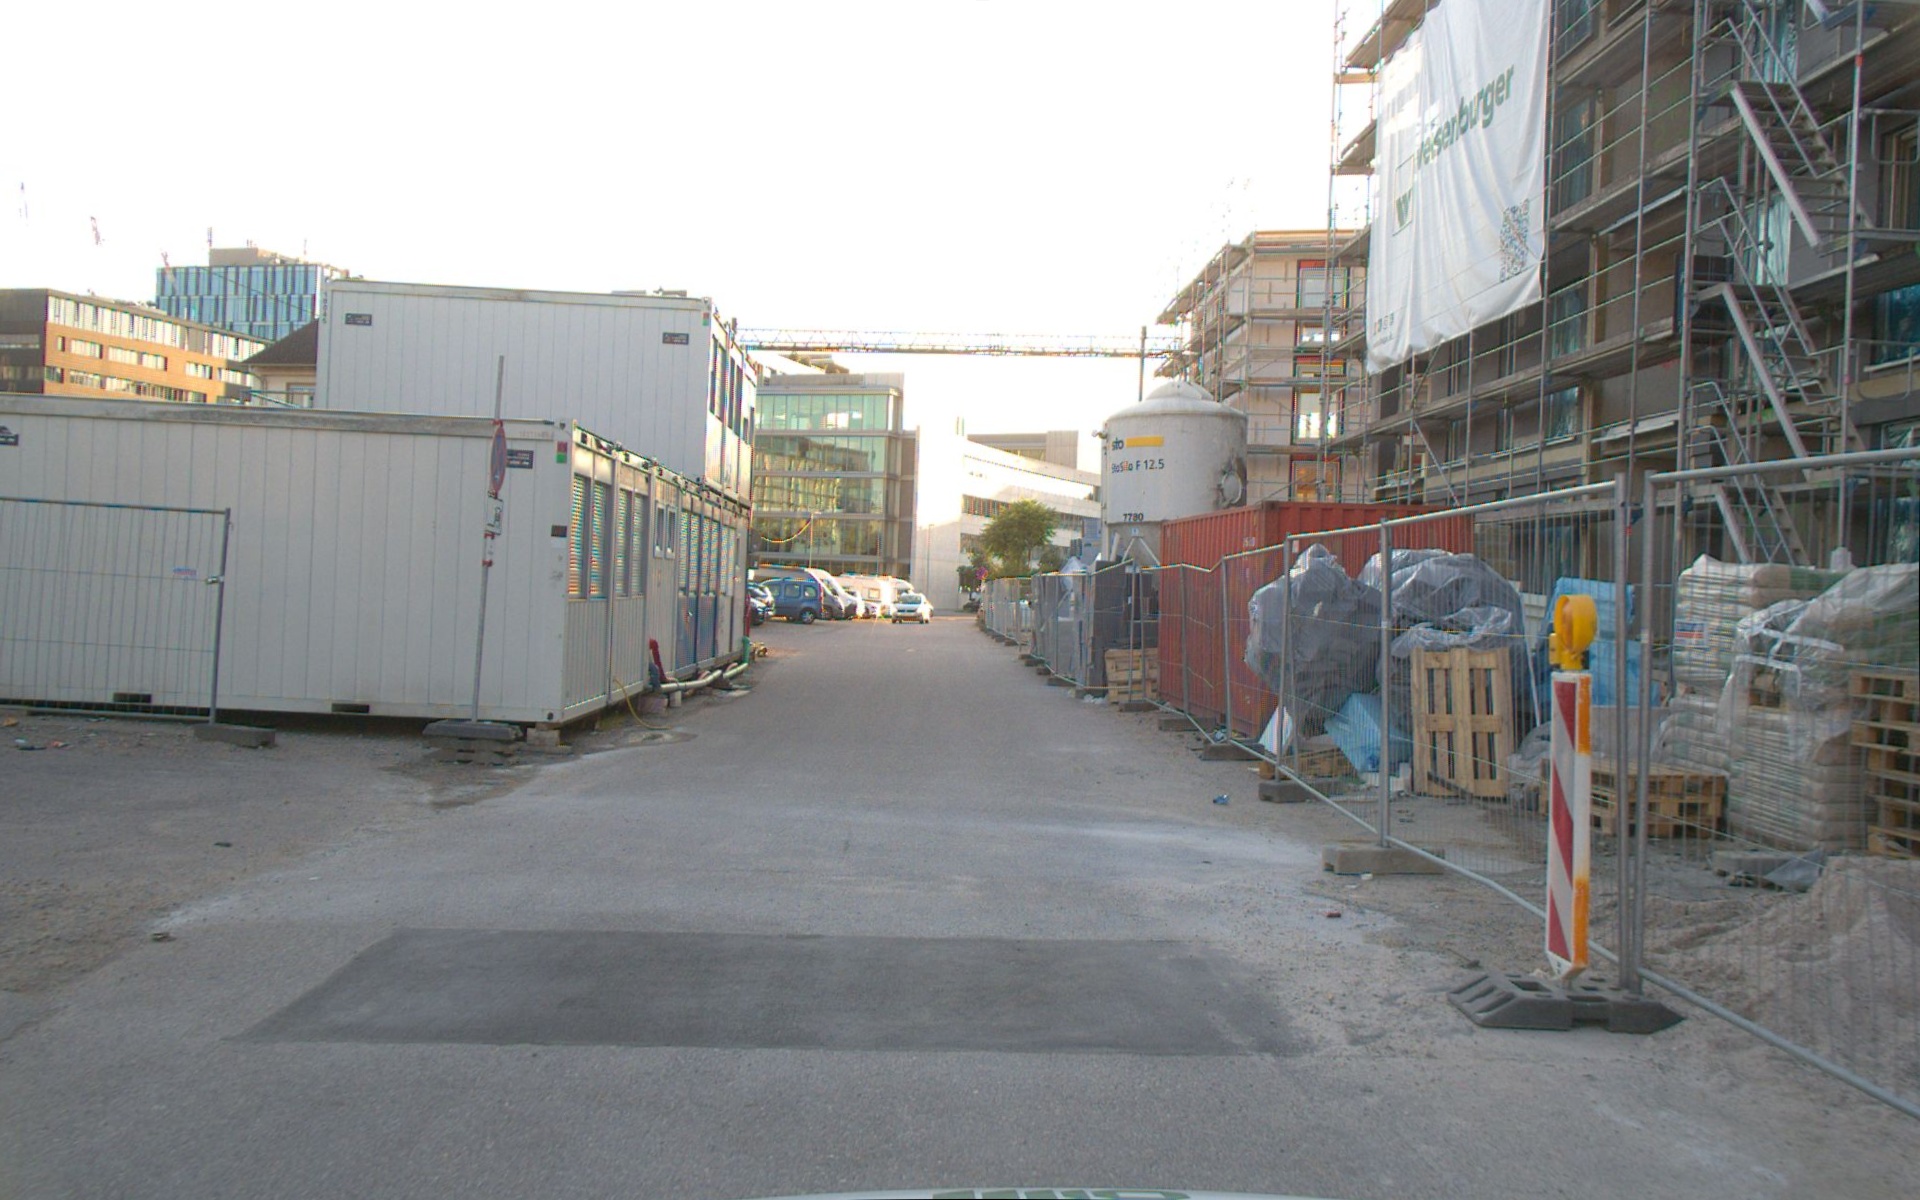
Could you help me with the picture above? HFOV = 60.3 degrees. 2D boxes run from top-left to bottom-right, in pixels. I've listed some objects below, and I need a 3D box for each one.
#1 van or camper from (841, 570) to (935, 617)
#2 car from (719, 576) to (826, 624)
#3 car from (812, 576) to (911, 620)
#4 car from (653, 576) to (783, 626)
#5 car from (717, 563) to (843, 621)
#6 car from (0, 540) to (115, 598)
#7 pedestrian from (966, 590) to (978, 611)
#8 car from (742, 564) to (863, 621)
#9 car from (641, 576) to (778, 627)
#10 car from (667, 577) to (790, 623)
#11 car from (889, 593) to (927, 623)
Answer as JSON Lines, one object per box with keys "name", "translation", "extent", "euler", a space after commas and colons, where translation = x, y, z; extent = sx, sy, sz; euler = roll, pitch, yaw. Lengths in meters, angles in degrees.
{"name": "van or camper", "translation": [-5.106, -0.482, 117.572], "extent": [6.198, 3.031, 2.294], "euler": [3, 0, 11]}
{"name": "car", "translation": [-8.005, 0.002, 70.651], "extent": [4.418, 1.901, 1.997], "euler": [2, 0, -7]}
{"name": "car", "translation": [-6.160, -0.146, 103.718], "extent": [5.797, 2.533, 2.002], "euler": [2, 0, 10]}
{"name": "car", "translation": [-9.059, 0.033, 62.169], "extent": [4.408, 1.676, 2.002], "euler": [2, 0, 7]}
{"name": "car", "translation": [-9.156, -0.400, 84.514], "extent": [6.199, 2.697, 2.000], "euler": [2, 0, -1]}
{"name": "car", "translation": [-34.827, -1.154, 62.829], "extent": [2.259, 2.049, 5.062], "euler": [2, 0, 9]}
{"name": "pedestrian", "translation": [1.075, 0.018, 150.128], "extent": [0.748, 1.848, 0.845], "euler": [2, 0, 22]}
{"name": "car", "translation": [-8.345, -0.411, 88.129], "extent": [6.199, 2.789, 2.000], "euler": [2, 0, -1]}
{"name": "car", "translation": [-8.967, 0.057, 59.401], "extent": [4.408, 1.676, 2.002], "euler": [2, 0, 7]}
{"name": "car", "translation": [-9.219, 0.006, 66.042], "extent": [4.408, 1.676, 2.002], "euler": [2, 0, 7]}
{"name": "car", "translation": [-2.804, 0.426, 90.172], "extent": [1.629, 1.555, 3.912], "euler": [2, 0, 5]}
